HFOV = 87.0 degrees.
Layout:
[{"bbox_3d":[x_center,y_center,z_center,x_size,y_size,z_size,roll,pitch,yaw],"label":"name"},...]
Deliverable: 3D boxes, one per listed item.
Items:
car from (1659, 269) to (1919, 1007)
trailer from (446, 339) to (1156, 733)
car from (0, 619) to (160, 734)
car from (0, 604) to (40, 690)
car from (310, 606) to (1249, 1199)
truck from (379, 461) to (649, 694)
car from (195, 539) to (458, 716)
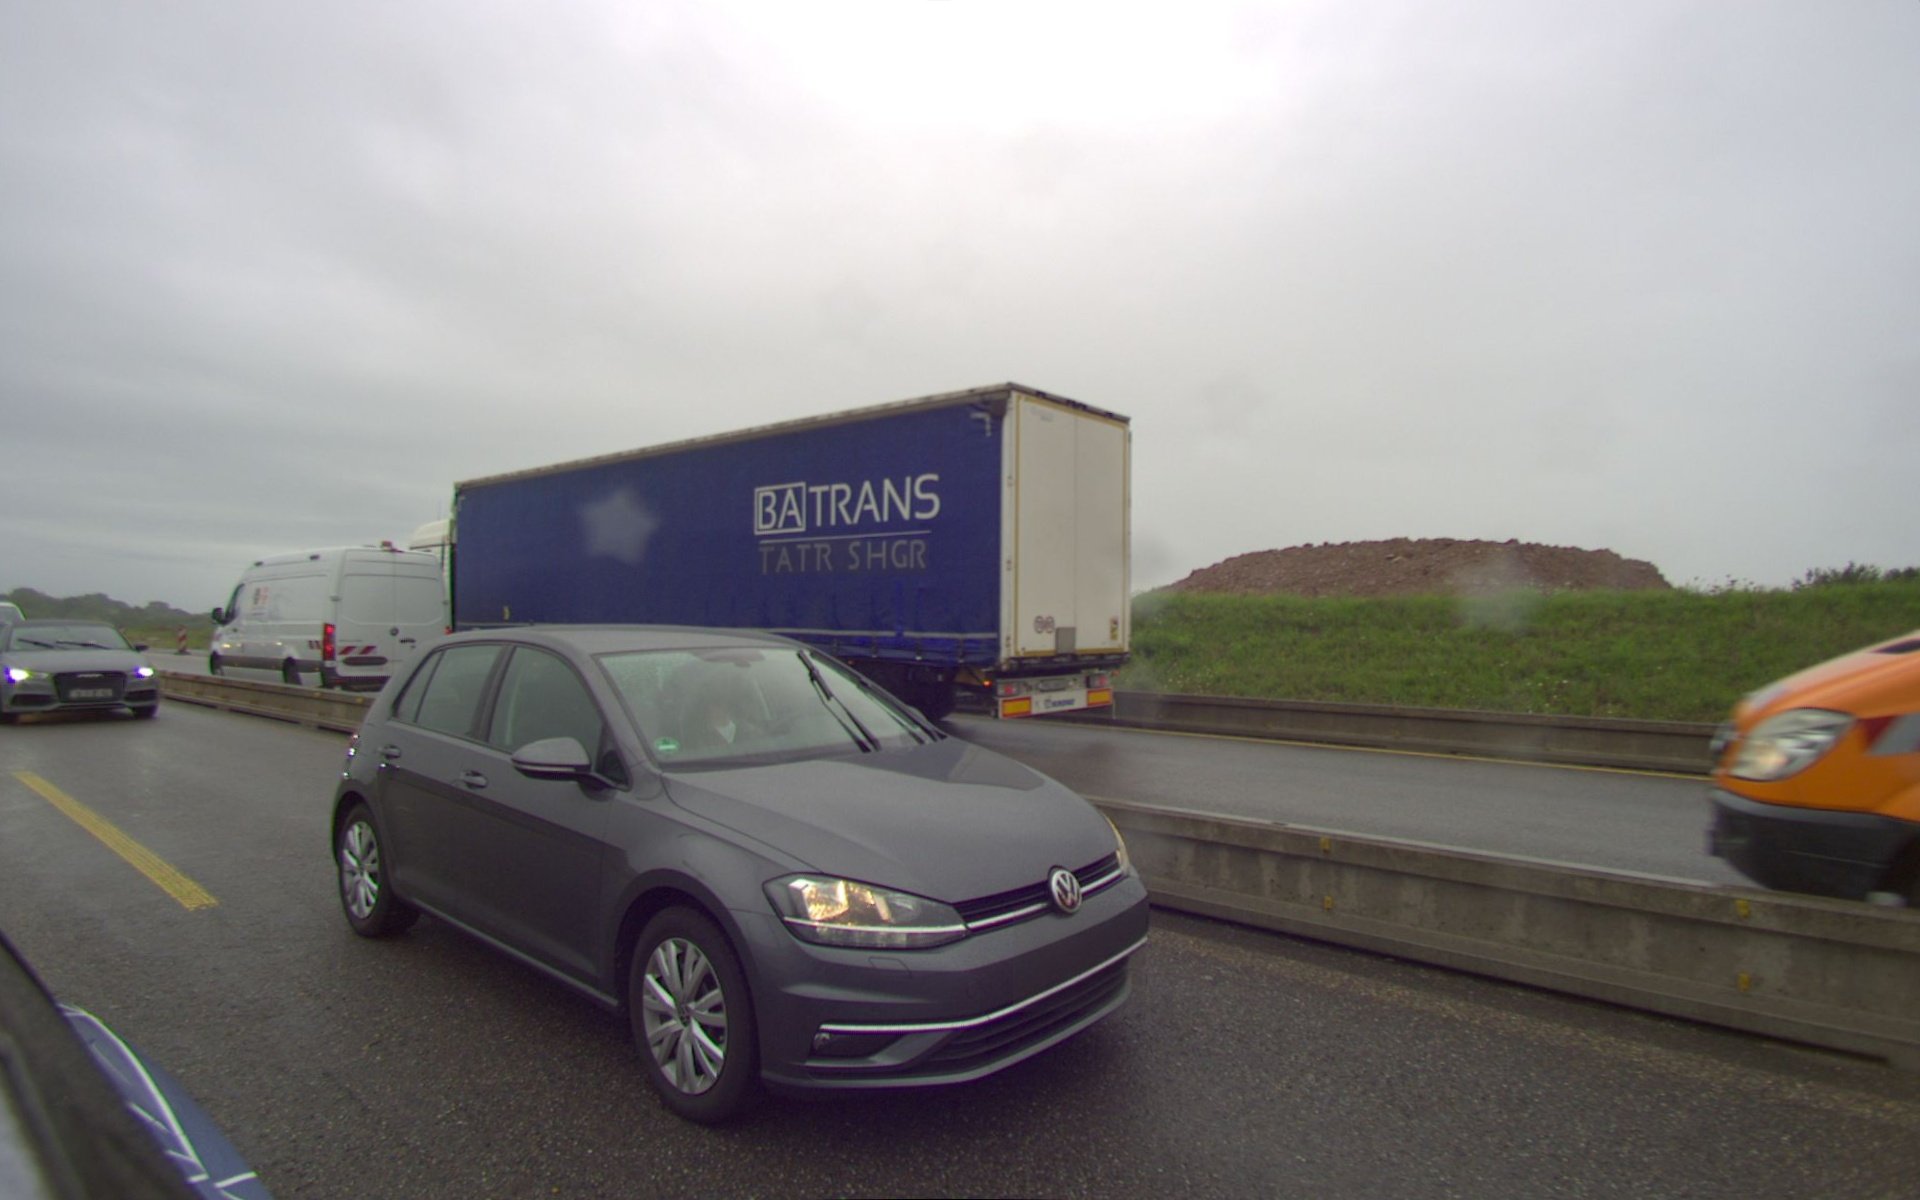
[{"bbox_3d":[6.117,0.077,2.497,7.017,2.597,2.032,-2,-1,41],"label":"car"},{"bbox_3d":[-3.711,-0.483,15.933,13.731,4.065,2.751,-2,-1,41],"label":"trailer"},{"bbox_3d":[-13.409,1.019,14.924,4.267,1.407,1.776,0,0,41],"label":"car"},{"bbox_3d":[-23.279,1.047,23.596,5.177,1.873,2.133,0,0,41],"label":"car"},{"bbox_3d":[-1.075,0.749,4.178,4.079,1.433,1.632,0,-1,41],"label":"car"},{"bbox_3d":[-9.180,-0.319,20.570,5.815,4.065,2.760,-2,-1,40],"label":"truck"},{"bbox_3d":[-11.656,0.507,18.313,6.877,2.674,1.986,-2,-1,40],"label":"car"}]
